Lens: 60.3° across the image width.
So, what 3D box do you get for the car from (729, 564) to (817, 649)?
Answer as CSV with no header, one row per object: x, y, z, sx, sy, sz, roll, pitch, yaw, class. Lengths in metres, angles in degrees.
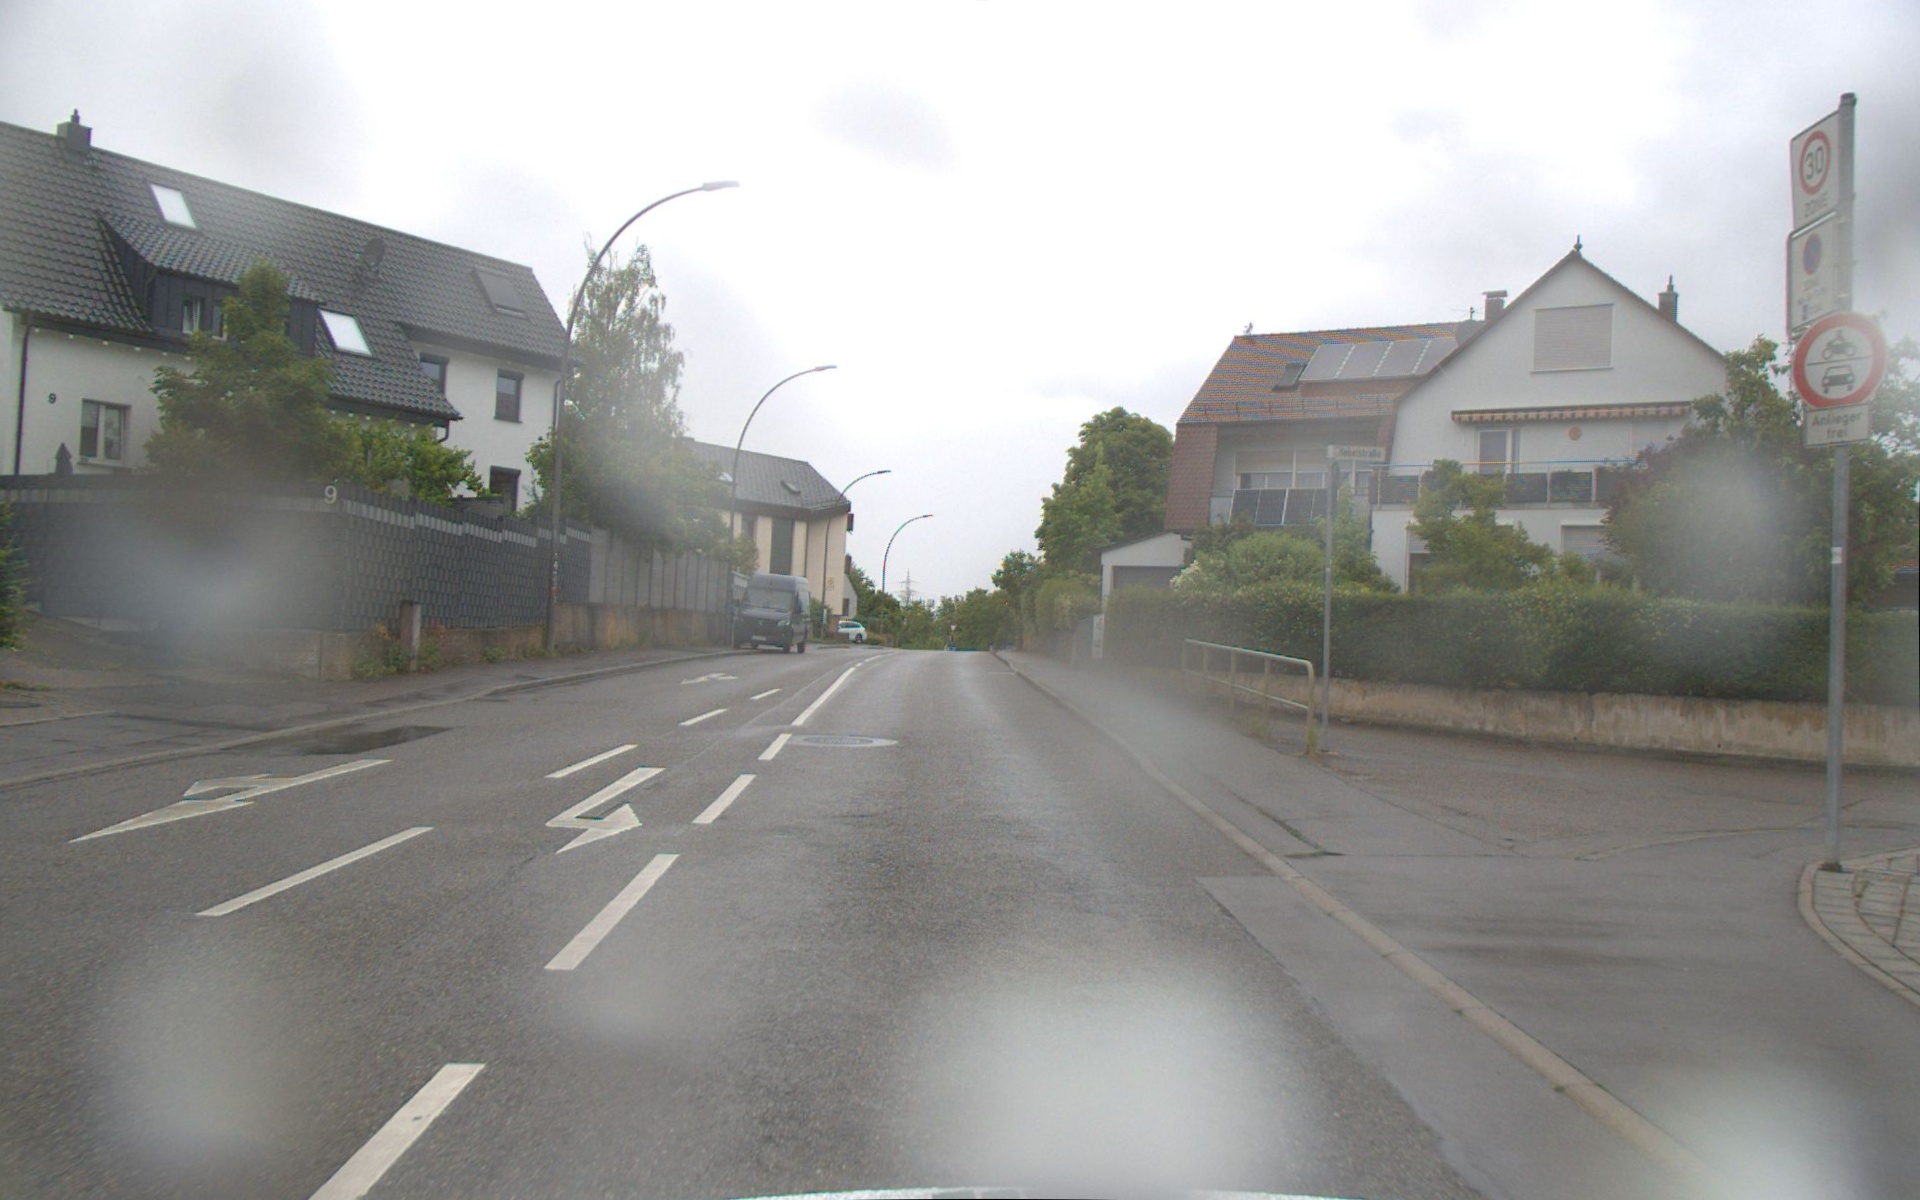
-6.469,0.271,57.846,2.051,2.695,5.919,3,-1,2,car

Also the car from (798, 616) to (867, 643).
-8.462,1.974,110.073,1.869,1.503,4.863,3,-1,36,car
